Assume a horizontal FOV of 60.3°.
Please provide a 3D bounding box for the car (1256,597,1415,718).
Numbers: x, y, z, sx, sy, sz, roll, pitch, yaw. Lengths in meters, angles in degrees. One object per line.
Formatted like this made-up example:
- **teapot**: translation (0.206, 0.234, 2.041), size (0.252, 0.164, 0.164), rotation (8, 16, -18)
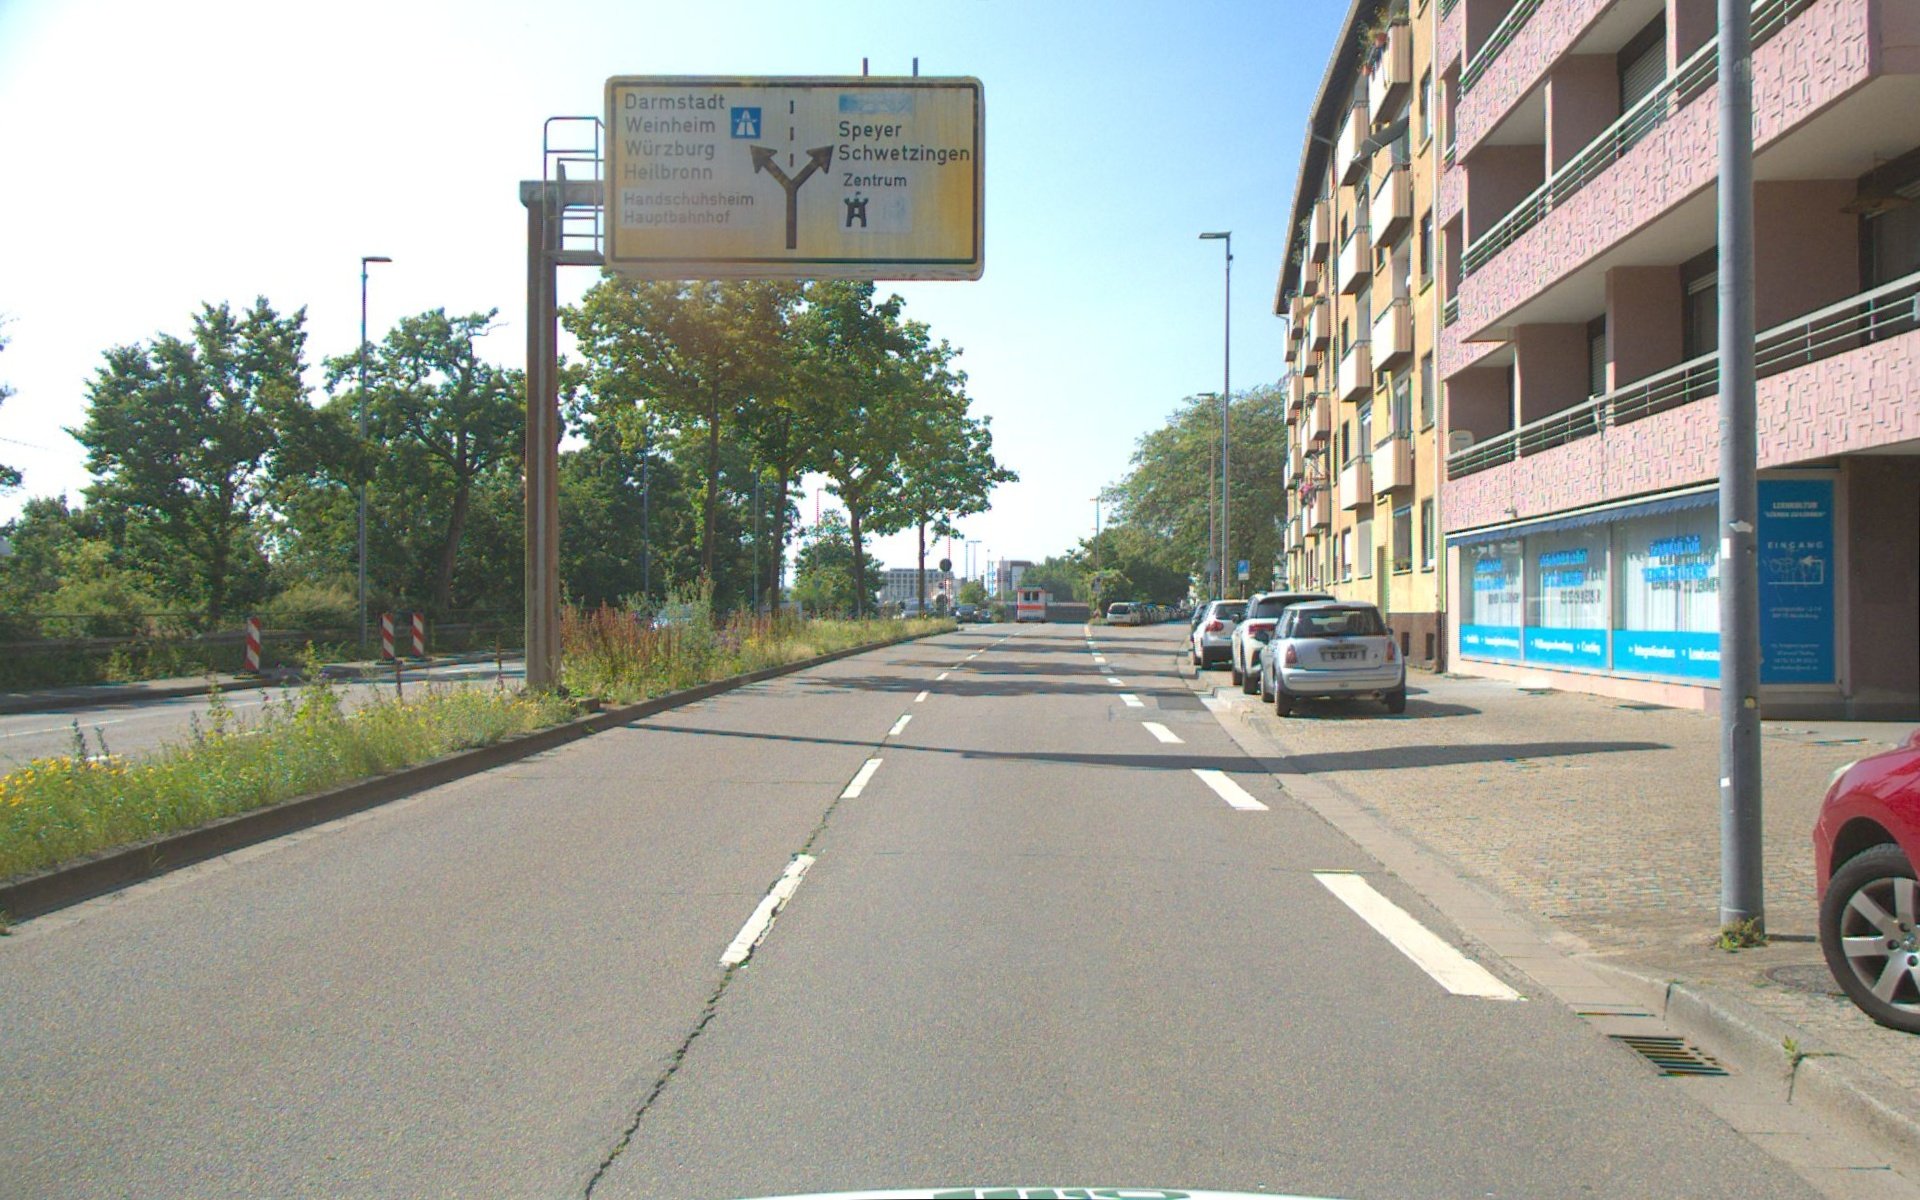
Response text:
- **car**: translation (4.956, 0.715, 22.228), size (1.642, 1.433, 3.433), rotation (-2, 0, 6)

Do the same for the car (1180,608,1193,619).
- **car**: translation (34.804, 2.145, 254.095), size (1.951, 1.686, 4.003), rotation (0, -1, 8)

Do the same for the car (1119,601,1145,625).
- **car**: translation (12.309, 0.917, 118.243), size (1.734, 1.607, 4.189), rotation (-1, 0, 7)

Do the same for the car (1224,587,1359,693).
- **car**: translation (5.332, 0.610, 27.034), size (1.699, 1.568, 4.356), rotation (-1, 0, 5)

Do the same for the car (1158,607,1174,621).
- **car**: translation (23.901, 1.666, 192.086), size (1.628, 1.536, 4.011), rotation (2, 0, 10)

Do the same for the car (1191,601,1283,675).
- **car**: translation (6.196, 0.810, 37.342), size (1.719, 1.532, 4.130), rotation (-1, 0, 5)

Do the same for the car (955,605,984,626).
- **car**: translation (0.709, 1.128, 121.811), size (1.726, 1.500, 4.087), rotation (-1, 0, 6)

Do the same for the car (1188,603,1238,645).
- **car**: translation (9.401, 0.864, 61.673), size (1.674, 1.487, 4.259), rotation (-1, 0, 6)

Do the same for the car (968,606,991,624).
- **car**: translation (1.959, 1.484, 165.287), size (1.951, 1.764, 4.732), rotation (0, 0, 4)

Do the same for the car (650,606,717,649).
- **car**: translation (-10.133, 0.978, 60.929), size (1.611, 1.441, 3.971), rotation (-3, 0, 2)

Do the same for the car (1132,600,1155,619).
- **car**: translation (15.515, 0.804, 139.533), size (1.628, 1.538, 3.792), rotation (2, 0, 10)

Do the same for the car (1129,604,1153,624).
- **car**: translation (14.630, 1.100, 133.758), size (1.628, 1.499, 3.792), rotation (2, 0, 10)

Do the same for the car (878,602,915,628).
- **car**: translation (-3.788, 0.905, 99.574), size (1.760, 1.557, 4.002), rotation (0, 0, 4)

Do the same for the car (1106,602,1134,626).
- **car**: translation (10.489, 0.913, 108.260), size (1.585, 1.532, 3.464), rotation (-1, 0, 10)

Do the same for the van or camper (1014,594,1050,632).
- **van or camper**: translation (5.606, 1.019, 128.695), size (2.247, 2.838, 5.575), rotation (0, -1, 8)

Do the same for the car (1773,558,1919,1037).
- **car**: translation (3.847, 0.591, 4.101), size (1.748, 1.508, 4.001), rotation (-2, 0, 2)
